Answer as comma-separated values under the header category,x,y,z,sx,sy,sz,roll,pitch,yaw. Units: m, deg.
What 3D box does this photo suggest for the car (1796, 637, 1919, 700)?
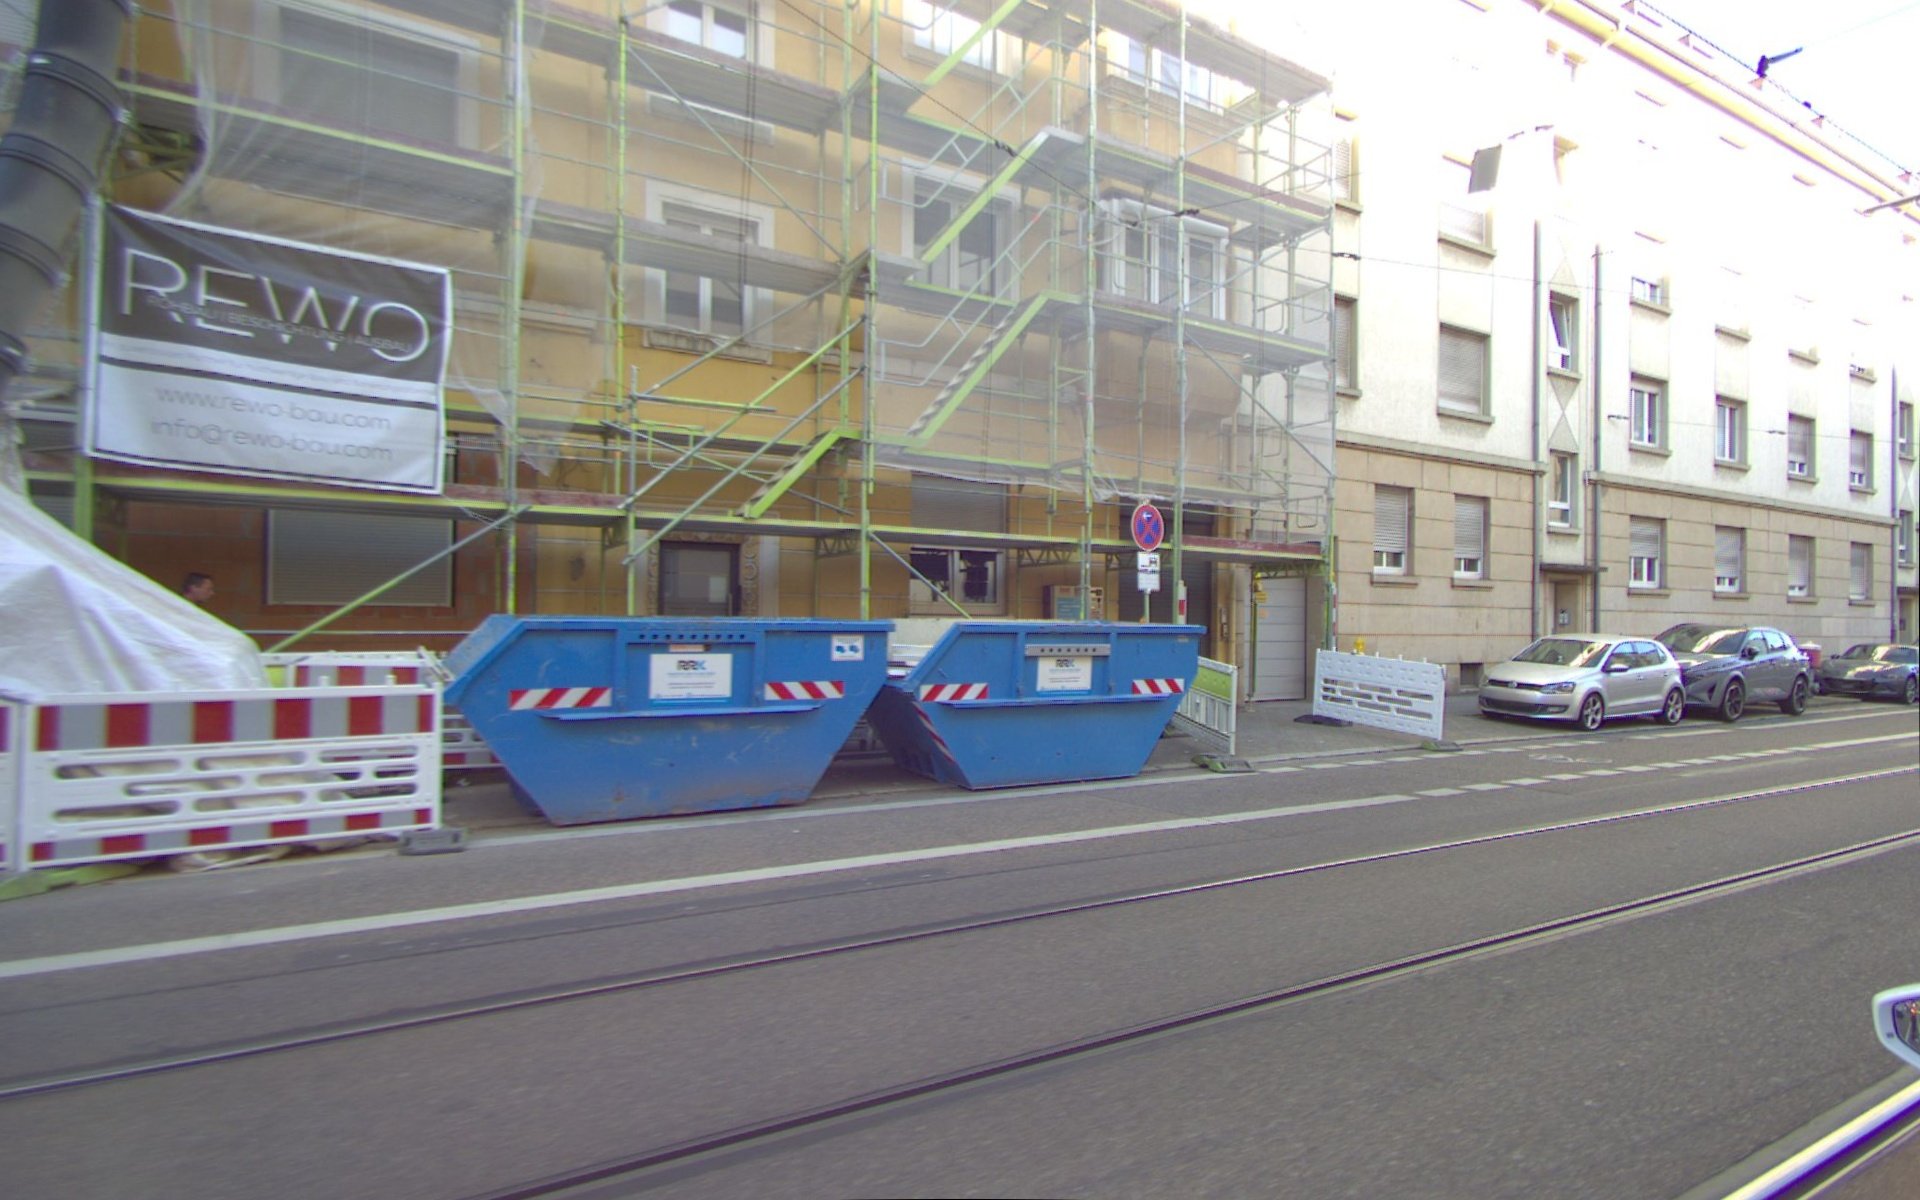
category,x,y,z,sx,sy,sz,roll,pitch,yaw
car,20.869,1.526,22.886,3.743,1.232,1.690,2,0,-32

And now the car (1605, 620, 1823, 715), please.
category,x,y,z,sx,sy,sz,roll,pitch,yaw
car,14.061,1.183,18.690,4.353,1.588,1.691,1,-1,-30

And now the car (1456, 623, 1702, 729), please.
category,x,y,z,sx,sy,sz,roll,pitch,yaw
car,10.113,1.185,16.375,3.953,1.434,1.691,2,2,-30

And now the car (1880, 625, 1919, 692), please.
category,x,y,z,sx,sy,sz,roll,pitch,yaw
car,25.196,1.510,25.408,3.953,1.590,1.691,2,0,-30
